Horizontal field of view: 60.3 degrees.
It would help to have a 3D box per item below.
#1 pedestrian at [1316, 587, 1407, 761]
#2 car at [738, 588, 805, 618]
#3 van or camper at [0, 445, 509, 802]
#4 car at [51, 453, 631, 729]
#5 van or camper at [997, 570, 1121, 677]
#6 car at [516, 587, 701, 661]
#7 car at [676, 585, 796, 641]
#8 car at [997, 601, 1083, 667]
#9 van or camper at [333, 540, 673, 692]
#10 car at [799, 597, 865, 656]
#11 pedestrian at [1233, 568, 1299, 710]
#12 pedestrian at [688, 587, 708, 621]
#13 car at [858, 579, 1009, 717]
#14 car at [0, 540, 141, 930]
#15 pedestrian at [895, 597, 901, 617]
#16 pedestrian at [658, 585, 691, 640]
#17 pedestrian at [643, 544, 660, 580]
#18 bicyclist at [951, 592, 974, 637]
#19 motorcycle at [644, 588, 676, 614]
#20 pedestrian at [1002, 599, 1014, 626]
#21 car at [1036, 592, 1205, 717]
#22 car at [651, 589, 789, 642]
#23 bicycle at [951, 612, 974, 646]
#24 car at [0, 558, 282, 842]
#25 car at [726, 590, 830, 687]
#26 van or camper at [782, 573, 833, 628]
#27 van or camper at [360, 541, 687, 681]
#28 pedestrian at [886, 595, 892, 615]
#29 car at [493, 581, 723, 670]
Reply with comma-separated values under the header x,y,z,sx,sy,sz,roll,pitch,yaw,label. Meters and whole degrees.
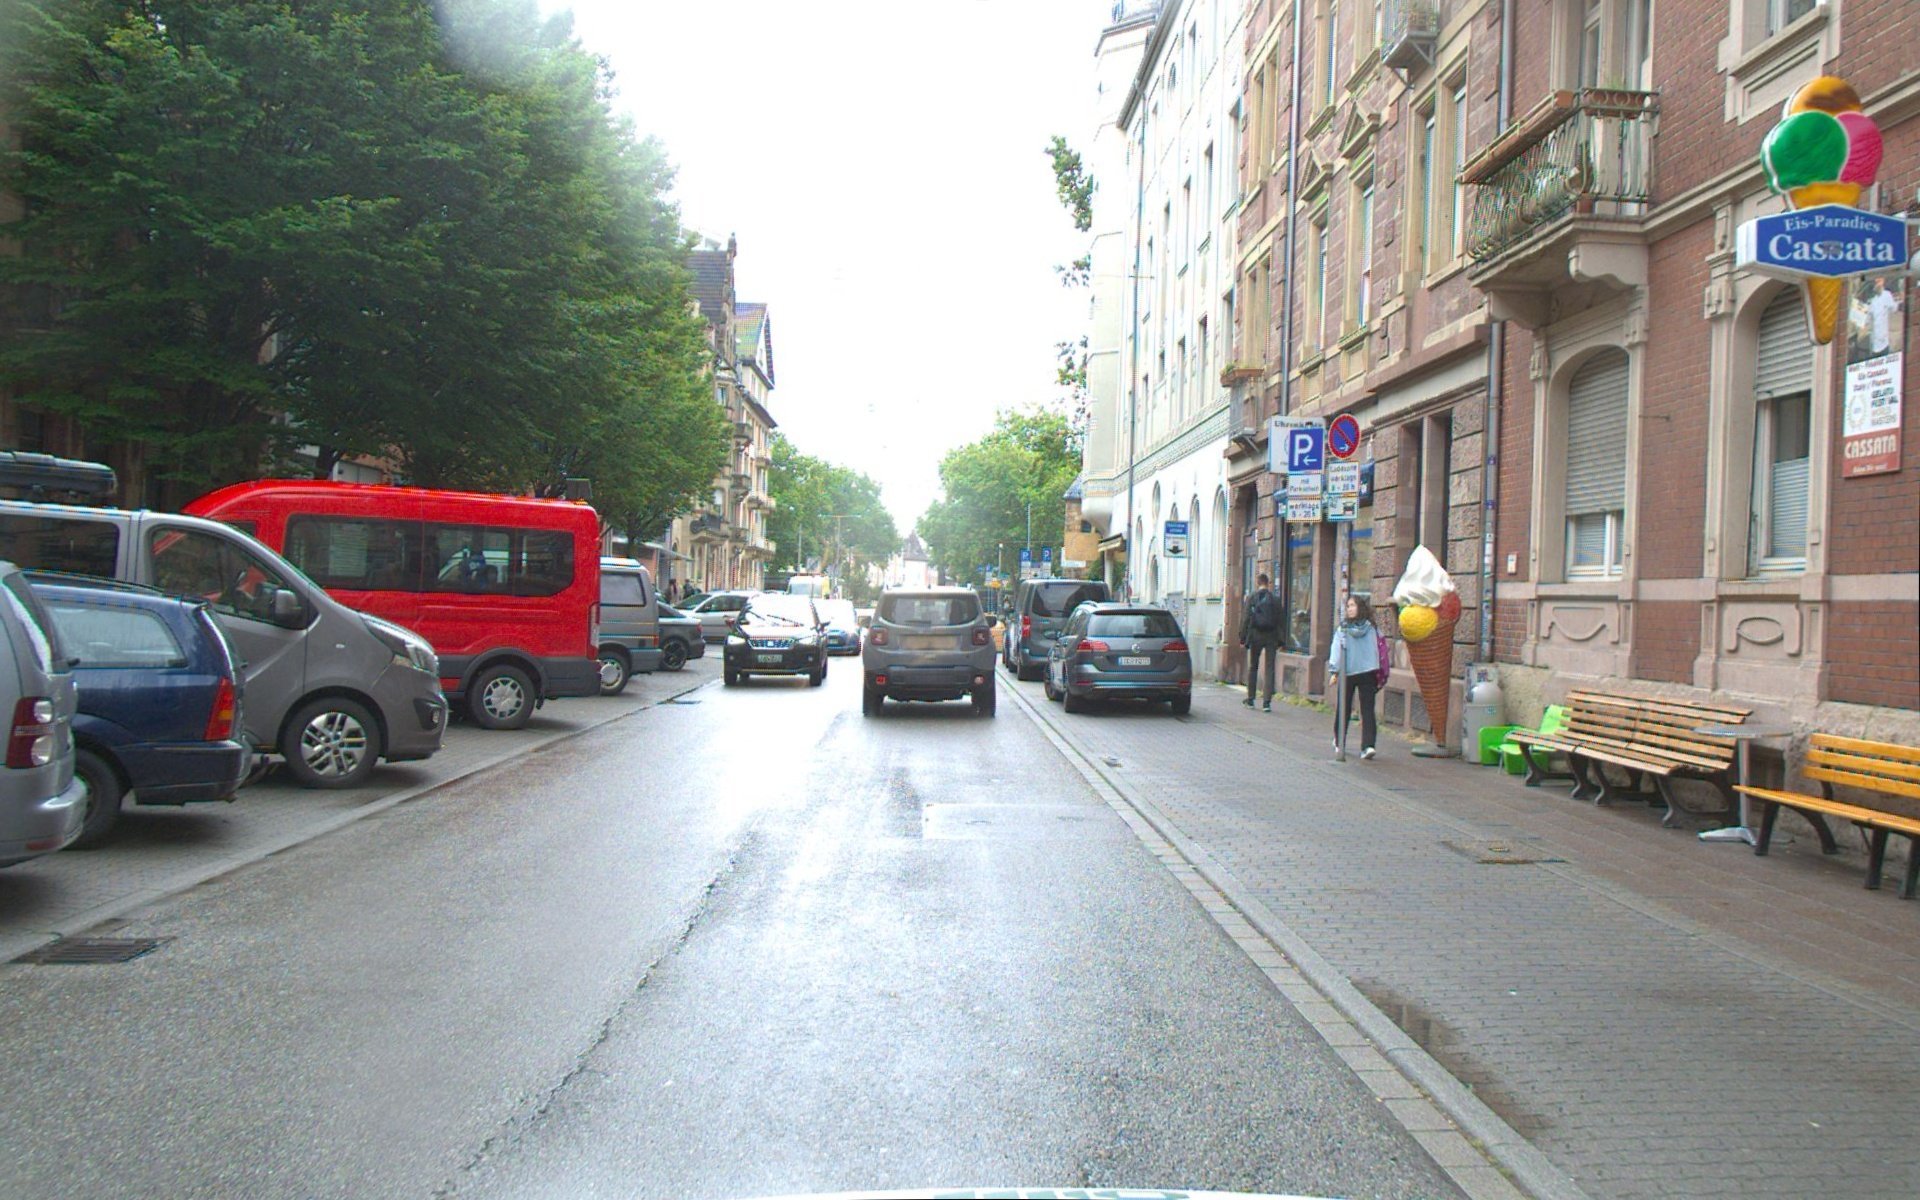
x,y,z,sx,sy,sz,roll,pitch,yaw,label
3.908,0.703,16.161,0.665,1.642,0.810,1,0,-1,pedestrian
-11.467,0.190,100.844,3.626,1.586,1.776,4,-1,-38,car
-6.202,0.161,12.532,4.951,2.390,2.324,2,0,-28,van or camper
-6.577,-0.016,17.800,5.494,2.585,2.208,2,0,-29,car
1.869,0.430,32.752,1.981,1.924,5.053,1,0,-2,van or camper
-7.282,0.490,34.423,3.454,1.461,1.625,1,0,-44,car
-6.958,0.403,51.426,3.346,1.683,1.614,1,0,-35,car
1.788,0.751,38.087,1.675,1.425,3.703,1,0,-2,car
-6.595,0.266,24.074,4.396,2.009,1.760,3,0,-35,van or camper
-3.464,0.701,45.344,1.636,1.491,4.001,1,0,-2,car
4.326,0.533,23.373,0.667,1.968,0.808,0,0,34,pedestrian
-12.514,0.171,78.982,0.694,1.578,0.608,4,0,5,pedestrian
-0.425,0.613,23.020,1.861,1.700,4.503,1,0,-2,car
-6.030,0.430,7.112,4.380,1.659,1.828,5,0,-28,car
-5.011,0.560,133.121,0.458,1.613,0.752,1,0,-2,pedestrian
-9.611,0.404,55.638,0.808,1.782,0.757,4,0,5,pedestrian
-15.652,-1.917,83.874,0.652,1.788,0.790,1,0,-25,pedestrian
0.082,0.476,53.909,0.690,1.428,1.171,1,0,-1,bicyclist
-14.661,0.071,80.924,0.737,1.194,2.117,4,0,11,motorcycle
3.174,0.822,109.364,0.677,1.741,0.684,1,0,-1,pedestrian
2.162,0.703,23.319,1.804,1.572,4.001,1,0,-2,car
-7.030,0.455,48.543,3.674,1.477,1.663,1,0,-37,car
0.071,0.944,53.906,0.690,1.072,1.812,1,0,-1,bicycle
-6.286,0.489,9.556,4.286,1.531,1.742,4,0,-24,car
-3.221,0.649,29.868,1.636,1.586,4.000,2,0,-4,car
-7.812,0.087,85.193,2.078,2.575,6.871,-2,-2,-2,van or camper
-7.171,0.215,27.460,4.660,1.986,2.301,4,0,-43,van or camper
-5.672,0.385,131.654,0.458,1.613,0.752,1,0,-2,pedestrian
-6.705,0.506,31.747,3.944,1.472,1.741,4,0,-42,car
